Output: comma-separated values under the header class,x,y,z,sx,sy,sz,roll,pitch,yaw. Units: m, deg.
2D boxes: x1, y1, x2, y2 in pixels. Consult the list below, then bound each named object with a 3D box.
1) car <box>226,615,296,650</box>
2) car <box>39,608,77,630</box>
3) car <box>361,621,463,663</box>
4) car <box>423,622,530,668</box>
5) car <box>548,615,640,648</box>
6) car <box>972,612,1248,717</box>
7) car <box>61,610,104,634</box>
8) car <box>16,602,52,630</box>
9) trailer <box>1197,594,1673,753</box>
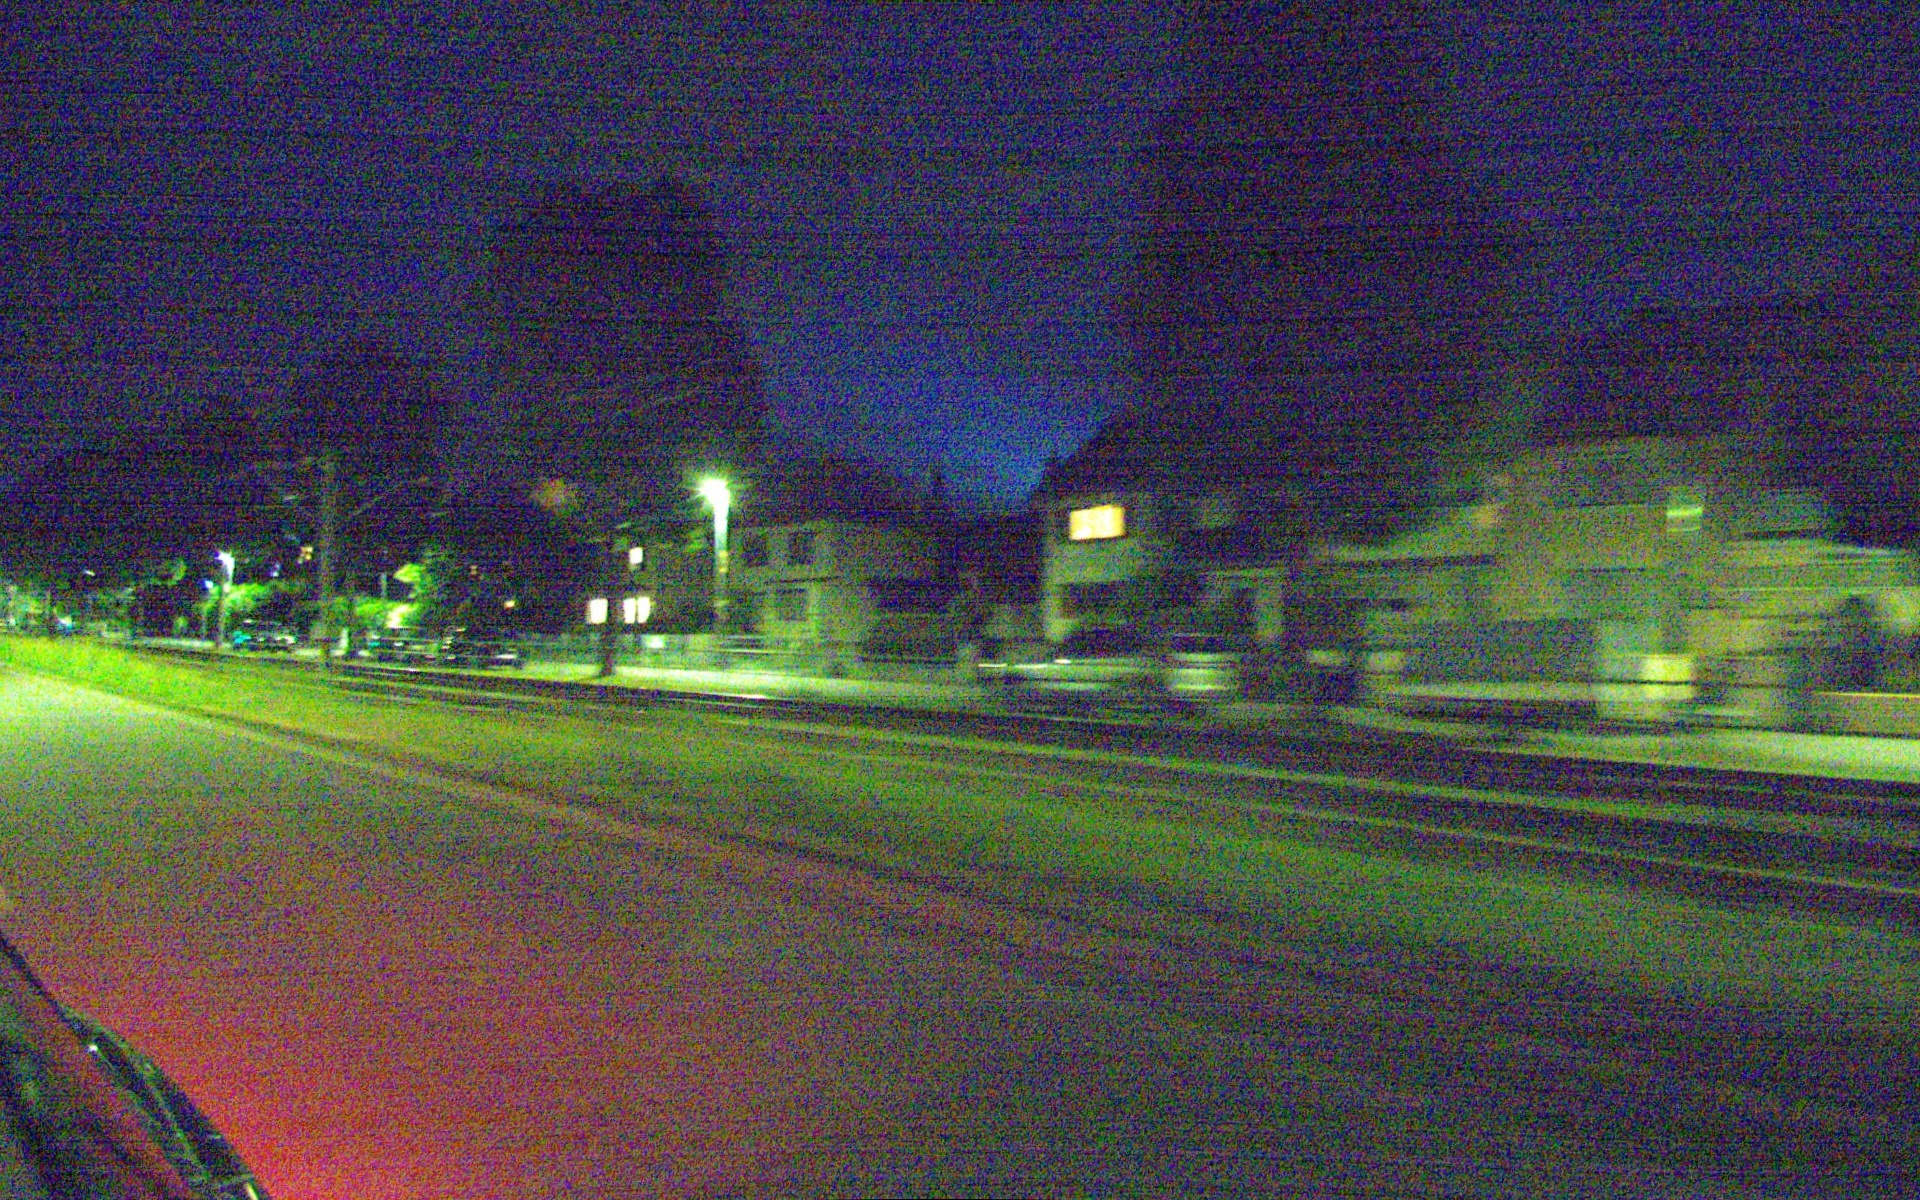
class,x,y,z,sx,sy,sz,roll,pitch,yaw
car,-35.427,1.661,51.248,4.691,1.580,1.745,-1,-6,41
car,-81.788,1.725,91.719,4.721,1.784,2.096,0,-5,44
car,-20.756,1.569,38.223,4.985,1.375,1.879,0,-5,44
car,-16.421,1.496,34.268,4.144,1.375,1.710,0,-4,41
car,-18.264,1.543,50.621,1.887,1.554,3.948,0,0,39
car,2.492,1.073,17.568,4.535,1.589,1.698,0,-5,43
car,-72.024,1.783,83.014,4.721,1.784,2.096,0,-5,44
car,-92.054,1.590,100.597,4.721,2.532,2.135,0,-5,44
trailer,6.343,0.923,14.106,5.673,1.794,2.002,-1,-4,42
